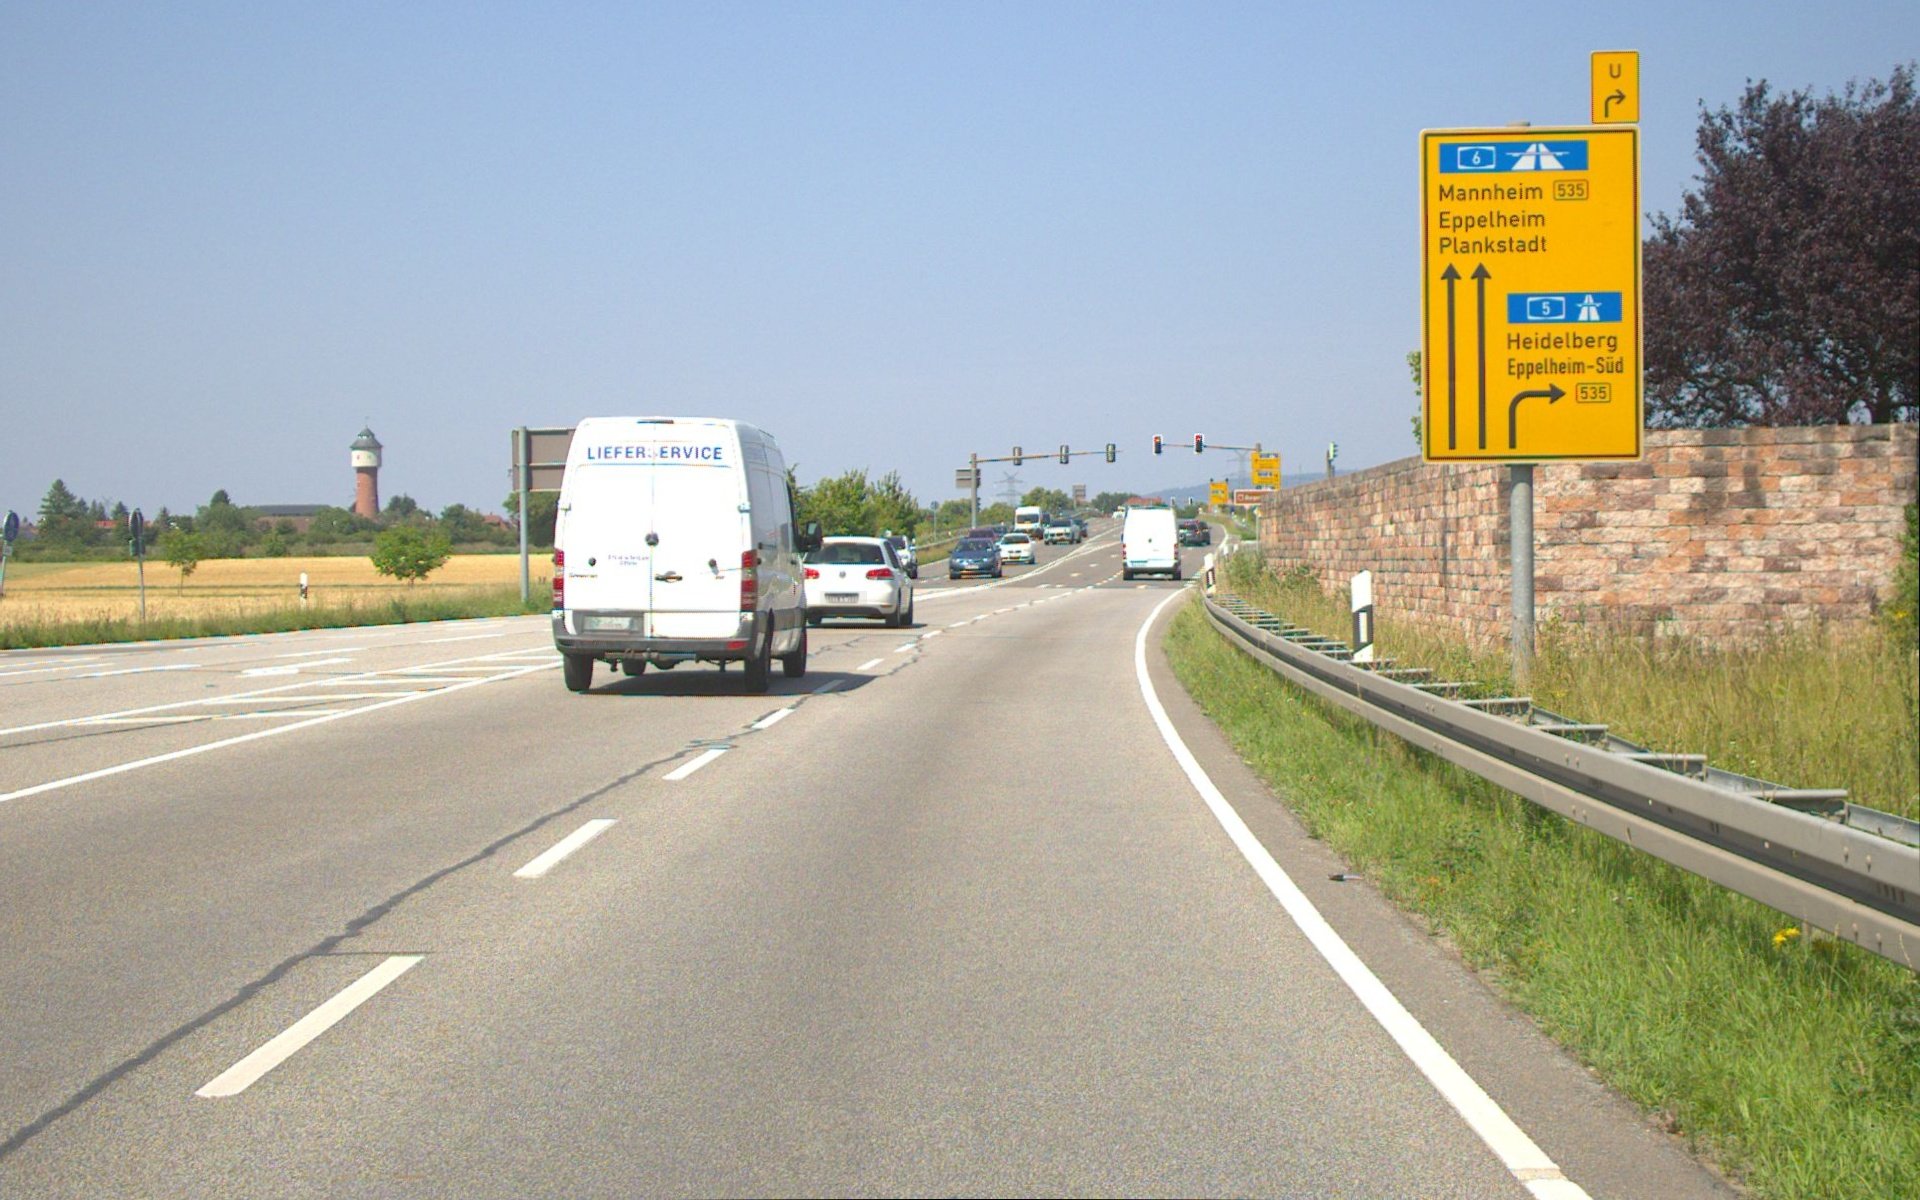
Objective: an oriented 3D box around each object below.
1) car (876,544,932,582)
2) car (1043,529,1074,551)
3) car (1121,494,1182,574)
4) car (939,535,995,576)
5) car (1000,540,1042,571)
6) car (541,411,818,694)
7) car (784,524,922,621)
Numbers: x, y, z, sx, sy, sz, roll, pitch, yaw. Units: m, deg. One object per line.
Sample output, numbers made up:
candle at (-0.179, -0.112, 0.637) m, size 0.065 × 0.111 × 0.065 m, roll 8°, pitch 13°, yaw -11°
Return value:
car at (-2.130, -1.424, 131.595) m, size 1.749 × 1.437 × 4.081 m, roll -1°, pitch 1°, yaw 4°
car at (6.726, -4.093, 234.319) m, size 1.857 × 1.418 × 3.999 m, roll -1°, pitch 1°, yaw 6°
car at (6.813, -2.316, 121.935) m, size 1.994 × 2.686 × 4.968 m, roll 1°, pitch 0°, yaw 4°
car at (0.282, -1.642, 126.368) m, size 1.749 × 1.437 × 4.081 m, roll -1°, pitch 1°, yaw 4°
car at (2.928, -2.101, 163.318) m, size 1.749 × 1.437 × 4.081 m, roll 1°, pitch 0°, yaw 4°
car at (-2.716, -0.496, 34.708) m, size 2.039 × 2.611 × 5.741 m, roll 0°, pitch 1°, yaw 3°
car at (-1.710, -0.484, 56.313) m, size 1.800 × 1.503 × 4.195 m, roll 0°, pitch 2°, yaw 4°
